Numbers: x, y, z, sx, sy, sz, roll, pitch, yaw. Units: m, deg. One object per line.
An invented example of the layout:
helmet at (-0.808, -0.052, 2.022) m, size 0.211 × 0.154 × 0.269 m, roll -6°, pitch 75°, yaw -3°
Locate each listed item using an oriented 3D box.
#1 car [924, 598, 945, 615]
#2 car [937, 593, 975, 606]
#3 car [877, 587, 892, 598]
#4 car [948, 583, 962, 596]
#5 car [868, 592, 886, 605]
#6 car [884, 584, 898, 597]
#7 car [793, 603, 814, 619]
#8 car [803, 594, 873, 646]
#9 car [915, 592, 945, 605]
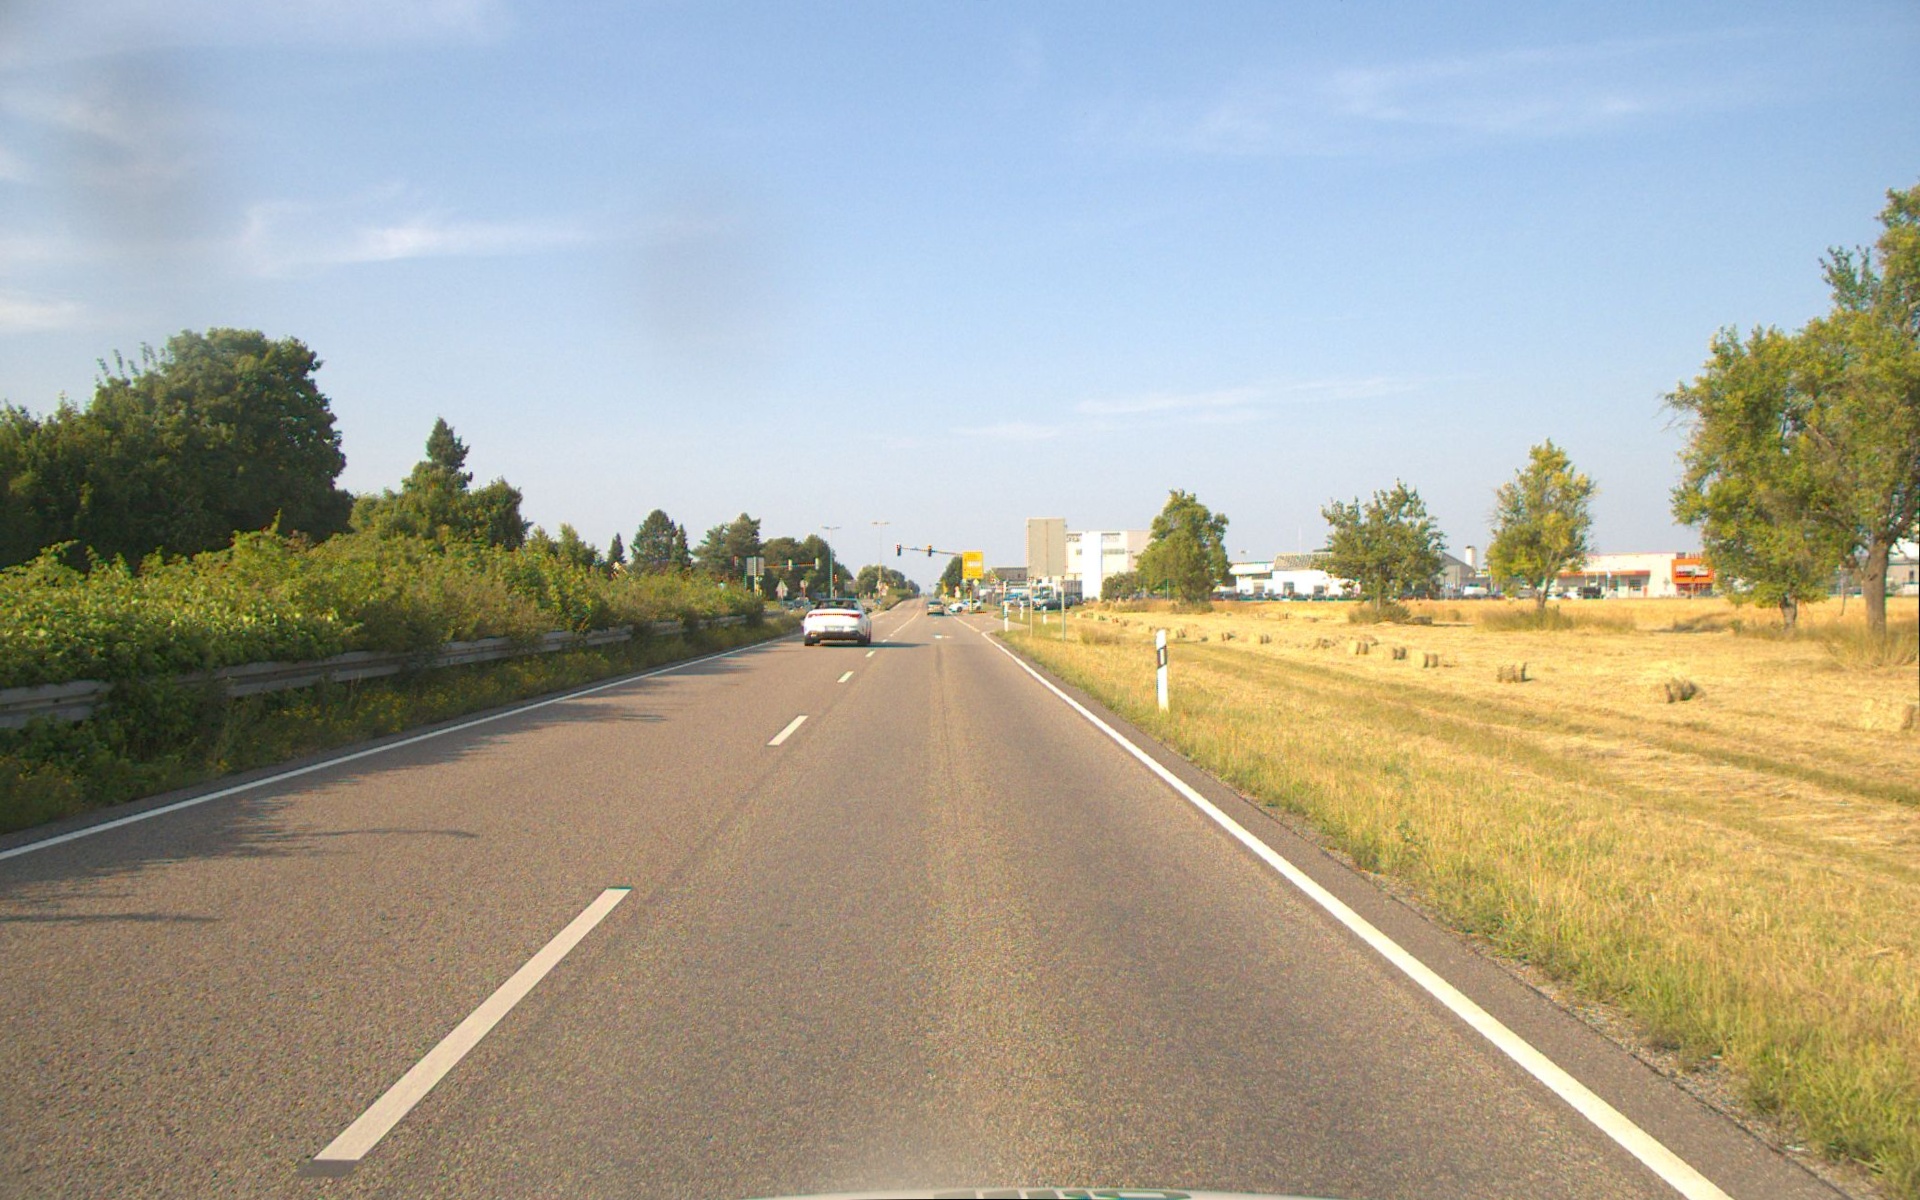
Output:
car at (-2.469, 0.612, 160.307) m, size 1.953 × 1.512 × 3.999 m, roll 1°, pitch 0°, yaw -2°
car at (-0.446, -0.059, 185.084) m, size 3.929 × 1.432 × 1.942 m, roll 1°, pitch 0°, yaw -21°
car at (-10.057, -0.997, 220.845) m, size 1.908 × 1.432 × 4.000 m, roll 1°, pitch 0°, yaw 0°
car at (-0.657, -1.545, 235.009) m, size 1.953 × 1.787 × 4.000 m, roll 1°, pitch 0°, yaw 0°
car at (-9.865, -0.157, 195.986) m, size 1.908 × 1.432 × 4.000 m, roll 1°, pitch 0°, yaw 0°
car at (-9.817, -1.320, 235.443) m, size 1.908 × 1.803 × 4.000 m, roll 1°, pitch 0°, yaw 0°
car at (-15.503, 1.081, 164.114) m, size 1.694 × 1.432 × 4.000 m, roll 1°, pitch 0°, yaw 0°
car at (-3.579, 0.557, 48.984) m, size 1.871 × 1.447 × 3.999 m, roll 1°, pitch 0°, yaw -2°
car at (-3.400, -0.123, 188.453) m, size 1.909 × 1.432 × 3.996 m, roll 1°, pitch 0°, yaw 26°
